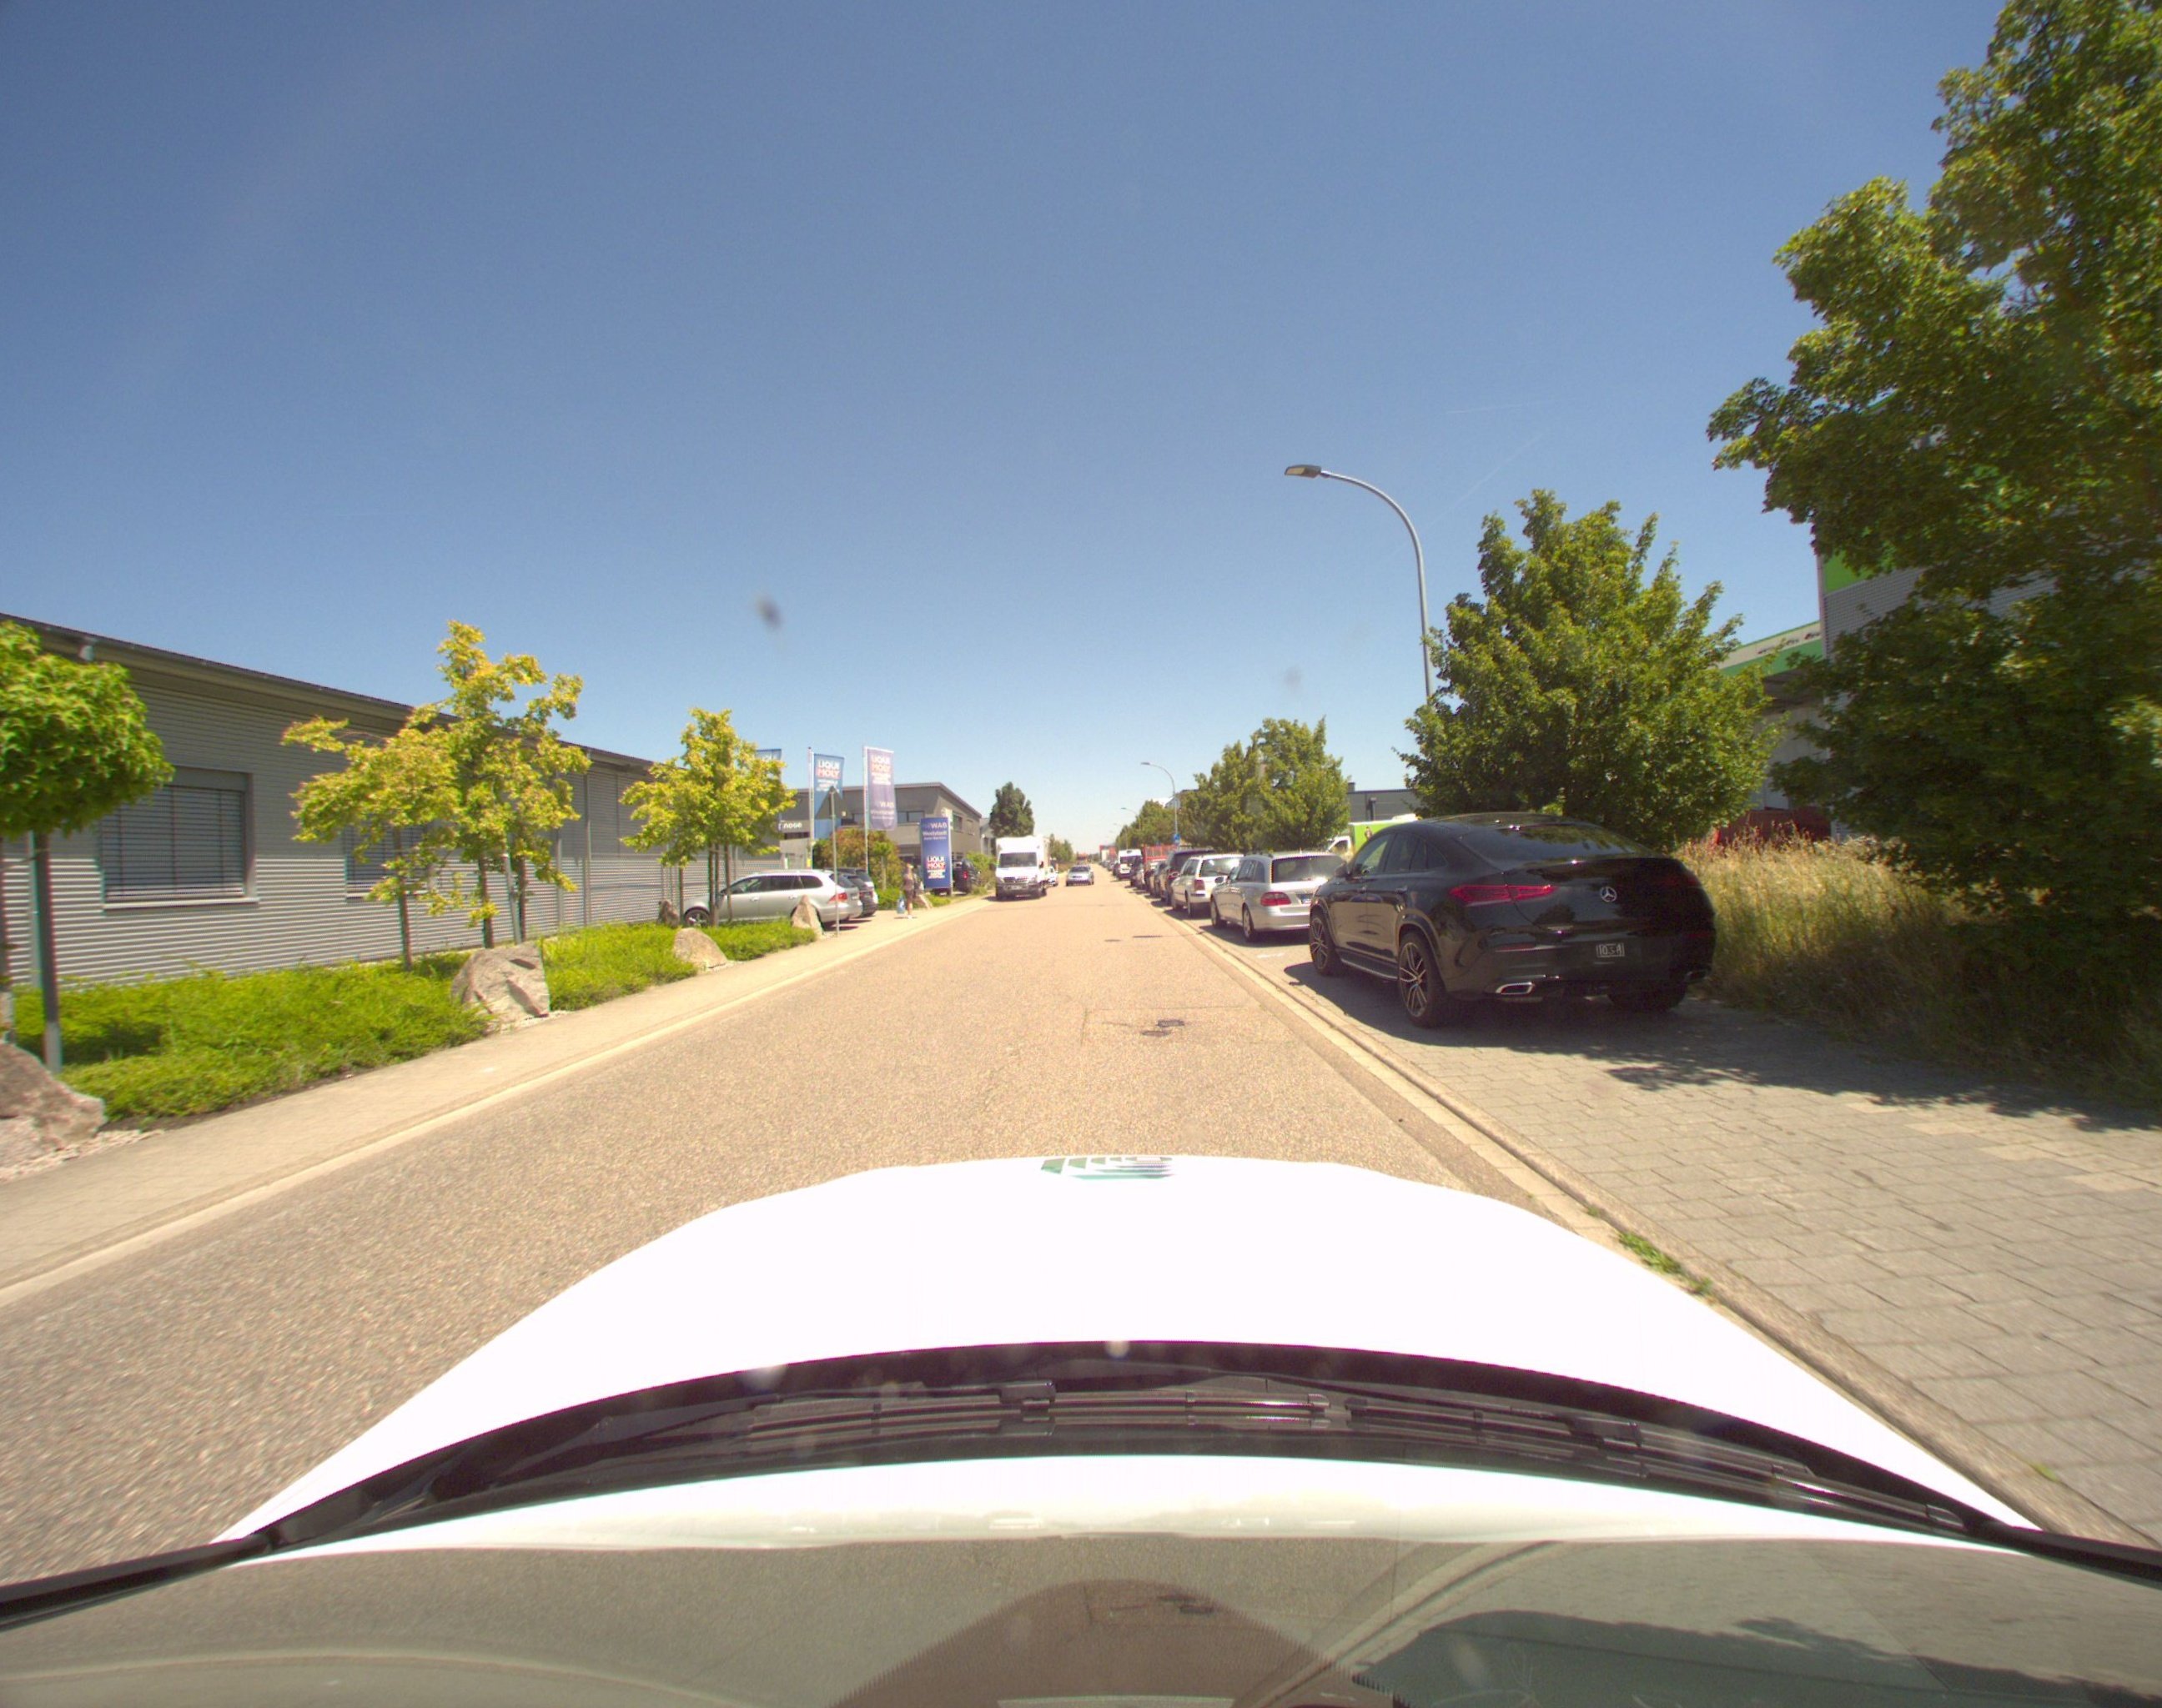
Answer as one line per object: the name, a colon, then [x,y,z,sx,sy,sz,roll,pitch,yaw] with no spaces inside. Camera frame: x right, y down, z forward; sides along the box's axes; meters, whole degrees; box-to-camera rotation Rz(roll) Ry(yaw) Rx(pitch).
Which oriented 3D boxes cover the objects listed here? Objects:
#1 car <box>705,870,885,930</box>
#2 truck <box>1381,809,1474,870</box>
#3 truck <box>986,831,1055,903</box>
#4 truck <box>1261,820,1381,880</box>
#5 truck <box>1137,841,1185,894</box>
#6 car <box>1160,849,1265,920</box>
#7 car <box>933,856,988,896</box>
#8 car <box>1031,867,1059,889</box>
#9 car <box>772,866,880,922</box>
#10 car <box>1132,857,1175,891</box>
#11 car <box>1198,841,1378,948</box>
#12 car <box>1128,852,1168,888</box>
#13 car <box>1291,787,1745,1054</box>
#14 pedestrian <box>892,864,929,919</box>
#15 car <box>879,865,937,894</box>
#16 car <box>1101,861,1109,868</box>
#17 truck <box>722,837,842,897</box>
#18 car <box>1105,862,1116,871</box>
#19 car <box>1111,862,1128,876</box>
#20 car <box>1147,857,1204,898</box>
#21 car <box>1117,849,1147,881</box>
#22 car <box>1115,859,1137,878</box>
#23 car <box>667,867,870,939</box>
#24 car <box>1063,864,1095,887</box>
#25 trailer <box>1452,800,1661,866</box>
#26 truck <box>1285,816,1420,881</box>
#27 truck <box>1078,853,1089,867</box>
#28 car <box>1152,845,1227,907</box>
car: [-7.919,1.256,22.800,4.293,1.431,1.847,-2,-1,2]
truck: [23.913,-0.976,56.412,5.045,3.876,2.804,-3,-2,1]
truck: [-2.699,0.612,37.859,2.353,2.860,6.416,-5,-1,1]
truck: [13.173,-0.211,44.950,5.803,2.913,2.414,-3,-1,0]
truck: [3.667,0.639,37.797,1.673,2.181,4.390,-5,-1,0]
car: [3.244,0.722,21.030,1.709,1.483,4.769,-4,0,-2]
car: [-6.352,1.159,43.551,1.987,1.956,5.218,-2,-1,1]
car: [-2.562,1.730,59.302,1.724,1.458,4.491,-2,-1,1]
car: [-7.745,1.200,24.886,2.732,1.518,1.535,-2,-1,-1]
car: [3.719,1.029,42.292,1.733,1.530,3.998,-5,-1,-1]
car: [3.500,0.636,14.778,1.800,1.483,4.769,-4,0,-2]
car: [3.923,0.919,48.415,1.986,1.884,5.156,-4,-1,1]
car: [3.607,0.468,7.903,1.942,1.701,4.546,-4,0,1]
pedestrian: [-5.031,1.095,24.129,0.895,1.574,0.786,-1,-1,1]
car: [-8.997,1.315,42.798,1.925,1.416,4.769,-1,-1,1]
car: [5.447,2.405,183.006,1.579,1.409,3.500,-3,-1,1]
truck: [-19.171,0.876,52.009,7.960,3.557,2.602,-2,-1,29]
car: [4.860,2.053,135.724,1.712,1.450,3.646,-3,-1,1]
car: [4.658,1.806,99.004,1.700,1.504,4.713,-3,-1,6]
car: [3.633,0.885,32.006,1.692,1.383,4.838,-5,-1,1]
car: [4.310,0.934,69.630,2.258,2.497,6.156,-3,-1,3]
car: [4.746,1.564,86.660,1.987,1.825,4.353,-3,-1,0]
car: [-7.633,1.175,20.213,4.249,1.518,1.865,-2,-1,-1]
car: [-0.113,1.517,57.819,1.775,1.422,4.419,-5,-1,5]
trailer: [32.700,-1.386,56.322,12.574,3.876,2.804,-3,-2,1]
truck: [13.499,-0.257,40.733,5.888,2.872,2.304,-3,-1,-3]
truck: [0.591,1.495,206.313,2.440,3.513,8.273,-4,0,1]
car: [3.439,0.663,26.592,1.804,1.725,4.775,-4,0,1]
